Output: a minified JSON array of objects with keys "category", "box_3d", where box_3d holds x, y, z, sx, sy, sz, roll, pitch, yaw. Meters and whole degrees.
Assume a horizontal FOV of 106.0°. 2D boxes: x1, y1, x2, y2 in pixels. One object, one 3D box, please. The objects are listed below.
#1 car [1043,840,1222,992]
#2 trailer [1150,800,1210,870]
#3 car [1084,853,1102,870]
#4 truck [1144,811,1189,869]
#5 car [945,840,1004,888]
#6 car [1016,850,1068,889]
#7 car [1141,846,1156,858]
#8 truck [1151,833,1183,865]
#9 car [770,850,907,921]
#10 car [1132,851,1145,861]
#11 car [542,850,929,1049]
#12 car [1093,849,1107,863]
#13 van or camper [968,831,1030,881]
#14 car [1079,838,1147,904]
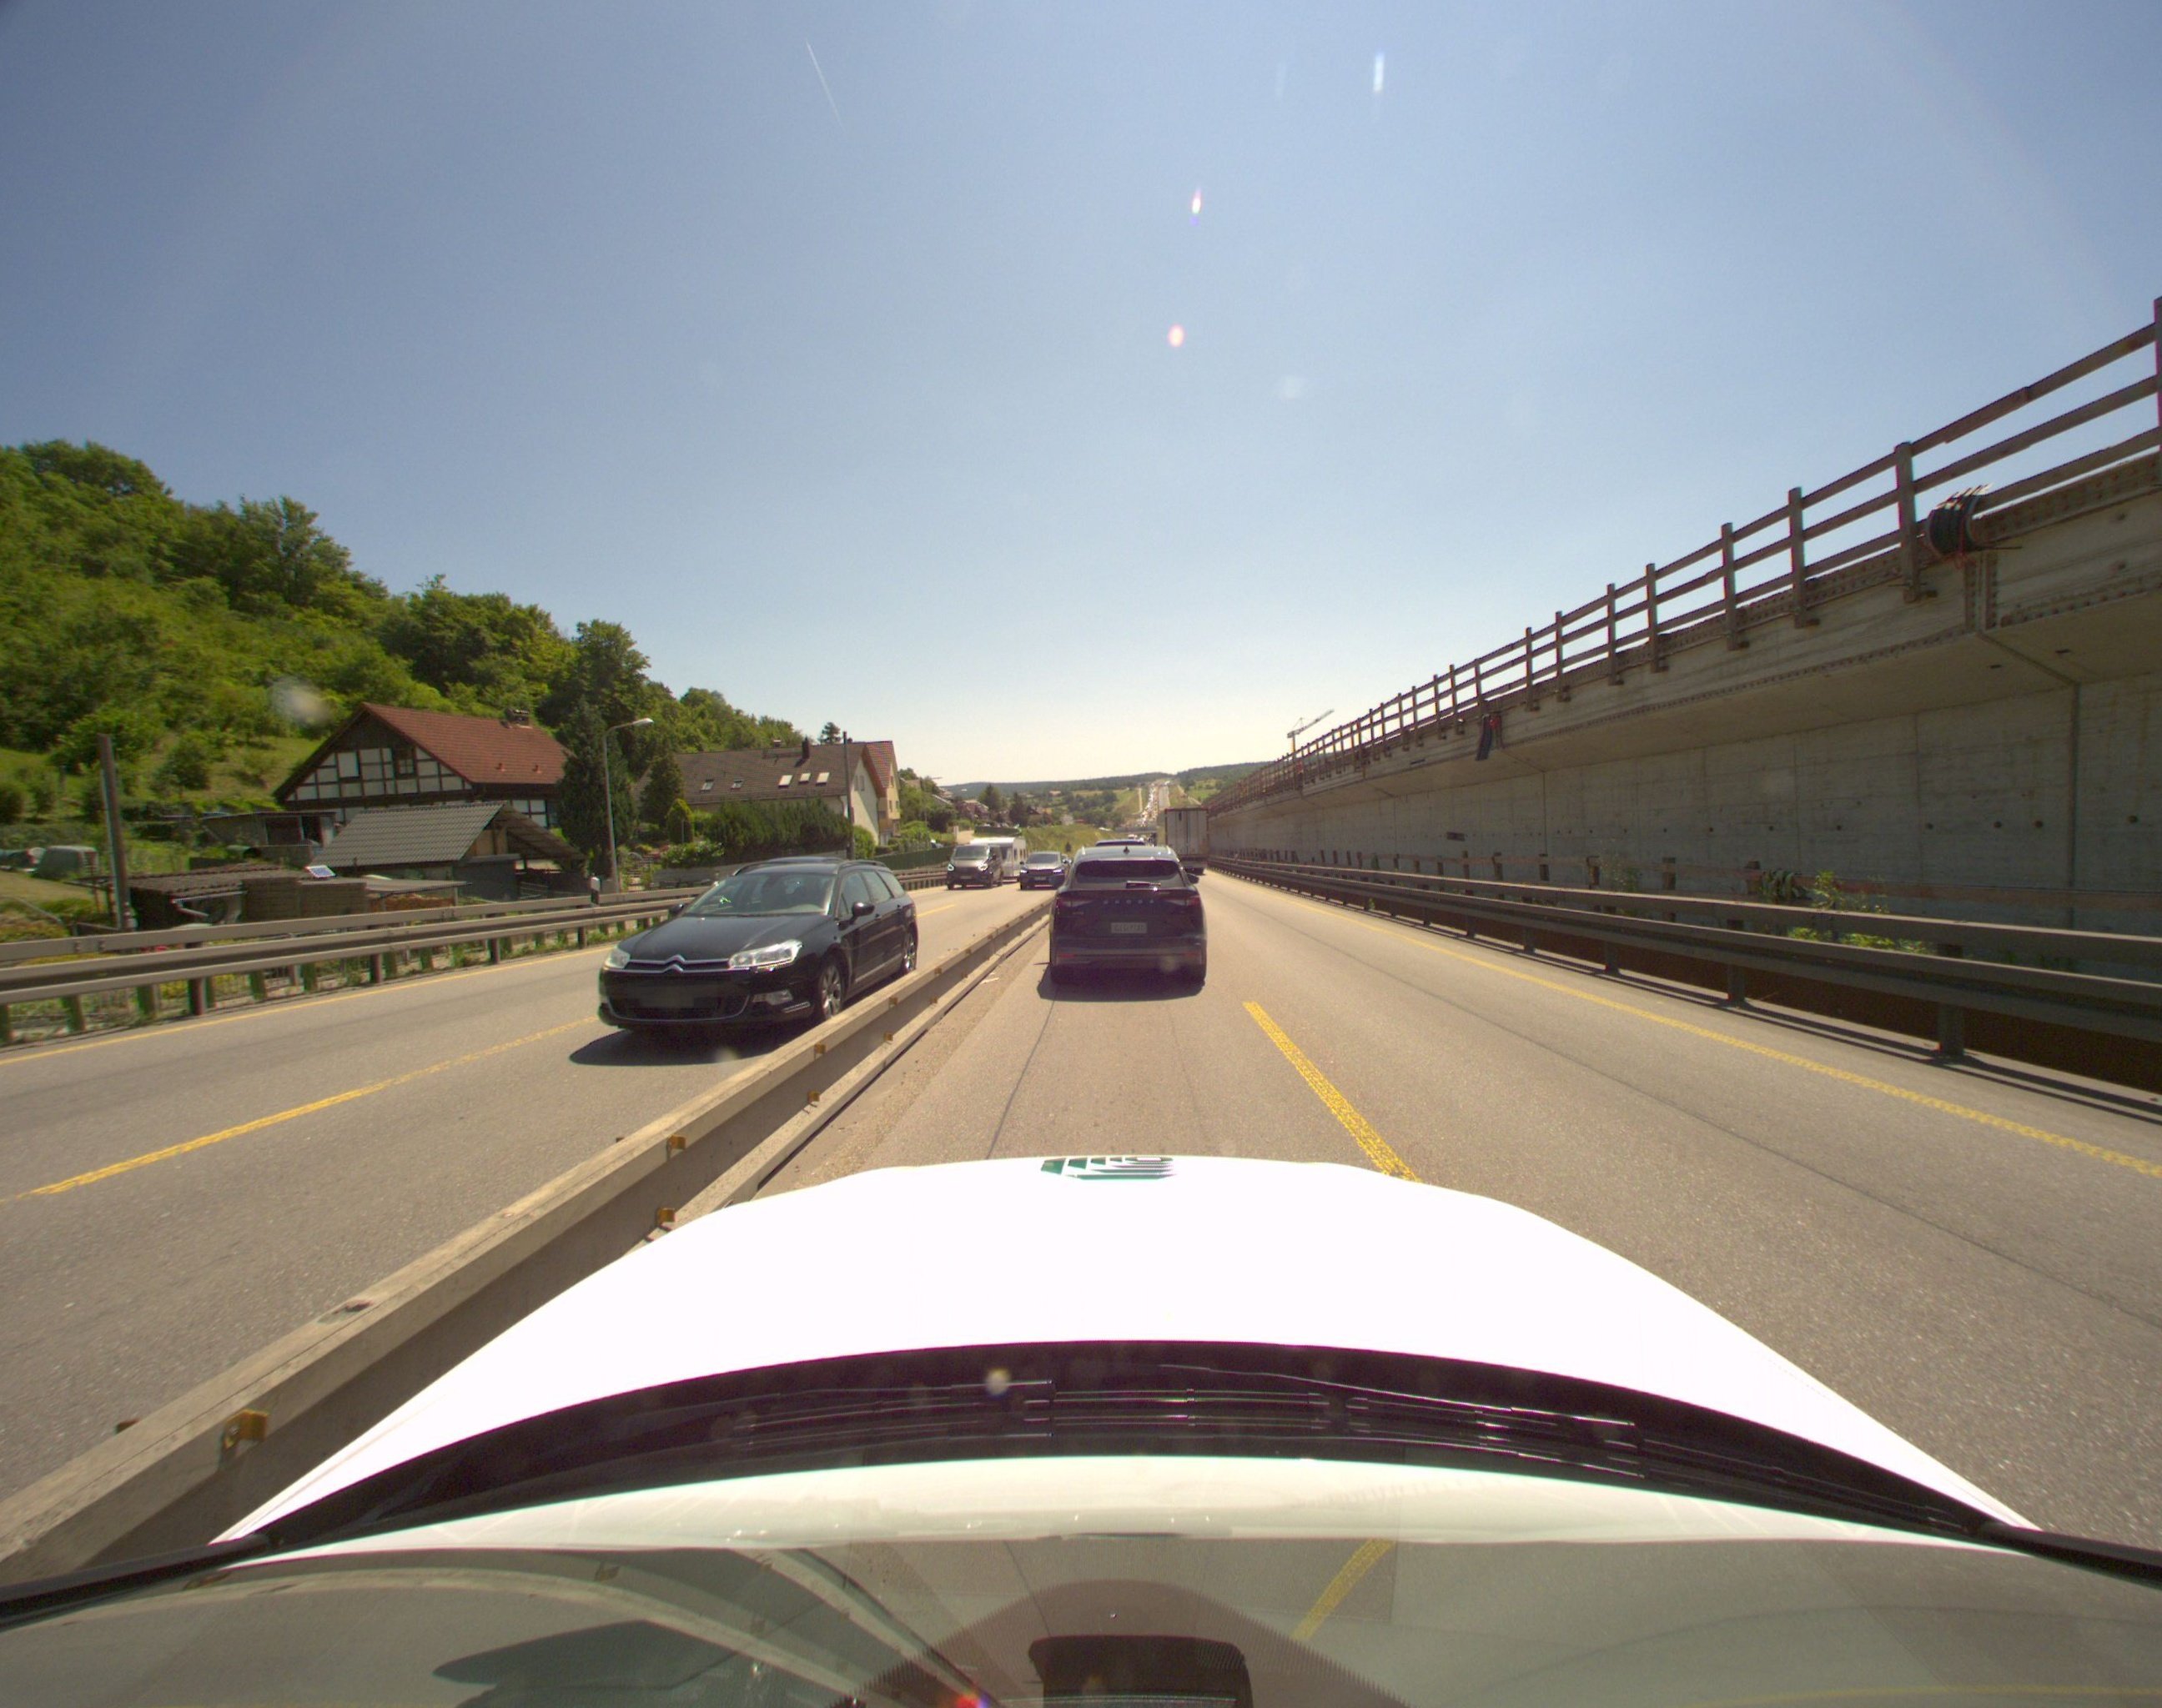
[{"category":"car","box_3d":[0.459,0.684,10.599,1.839,1.586,3.902,-1,-1,-4]},{"category":"trailer","box_3d":[6.303,-1.007,53.706,2.523,4.127,11.545,-1,-1,0]},{"category":"car","box_3d":[1.167,0.749,77.084,1.541,1.549,3.239,-1,-1,2]},{"category":"truck","box_3d":[6.335,-0.921,61.341,2.505,4.025,8.237,-1,-1,0]},{"category":"car","box_3d":[-4.761,0.456,36.826,1.986,2.014,4.001,-1,-1,2]},{"category":"car","box_3d":[-1.648,0.679,35.800,1.865,1.586,4.481,-1,-1,2]},{"category":"car","box_3d":[10.242,-0.294,123.281,1.986,1.585,3.836,-1,-1,1]},{"category":"truck","box_3d":[9.206,-0.398,88.269,3.180,3.191,12.824,-1,-1,5]},{"category":"car","box_3d":[-5.548,0.704,19.228,1.835,1.460,4.179,-1,-1,2]},{"category":"car","box_3d":[9.814,0.329,138.299,1.986,1.585,3.836,-1,-1,1]},{"category":"car","box_3d":[-3.080,0.771,8.556,1.986,1.504,4.649,-1,-1,1]},{"category":"car","box_3d":[2.235,0.222,93.386,1.541,1.549,3.239,-1,-1,2]},{"category":"van or camper","box_3d":[-4.350,0.138,44.421,2.344,2.516,6.332,-1,-1,3]},{"category":"car","box_3d":[0.924,0.462,25.351,1.703,1.881,3.995,-1,0,-4]}]
